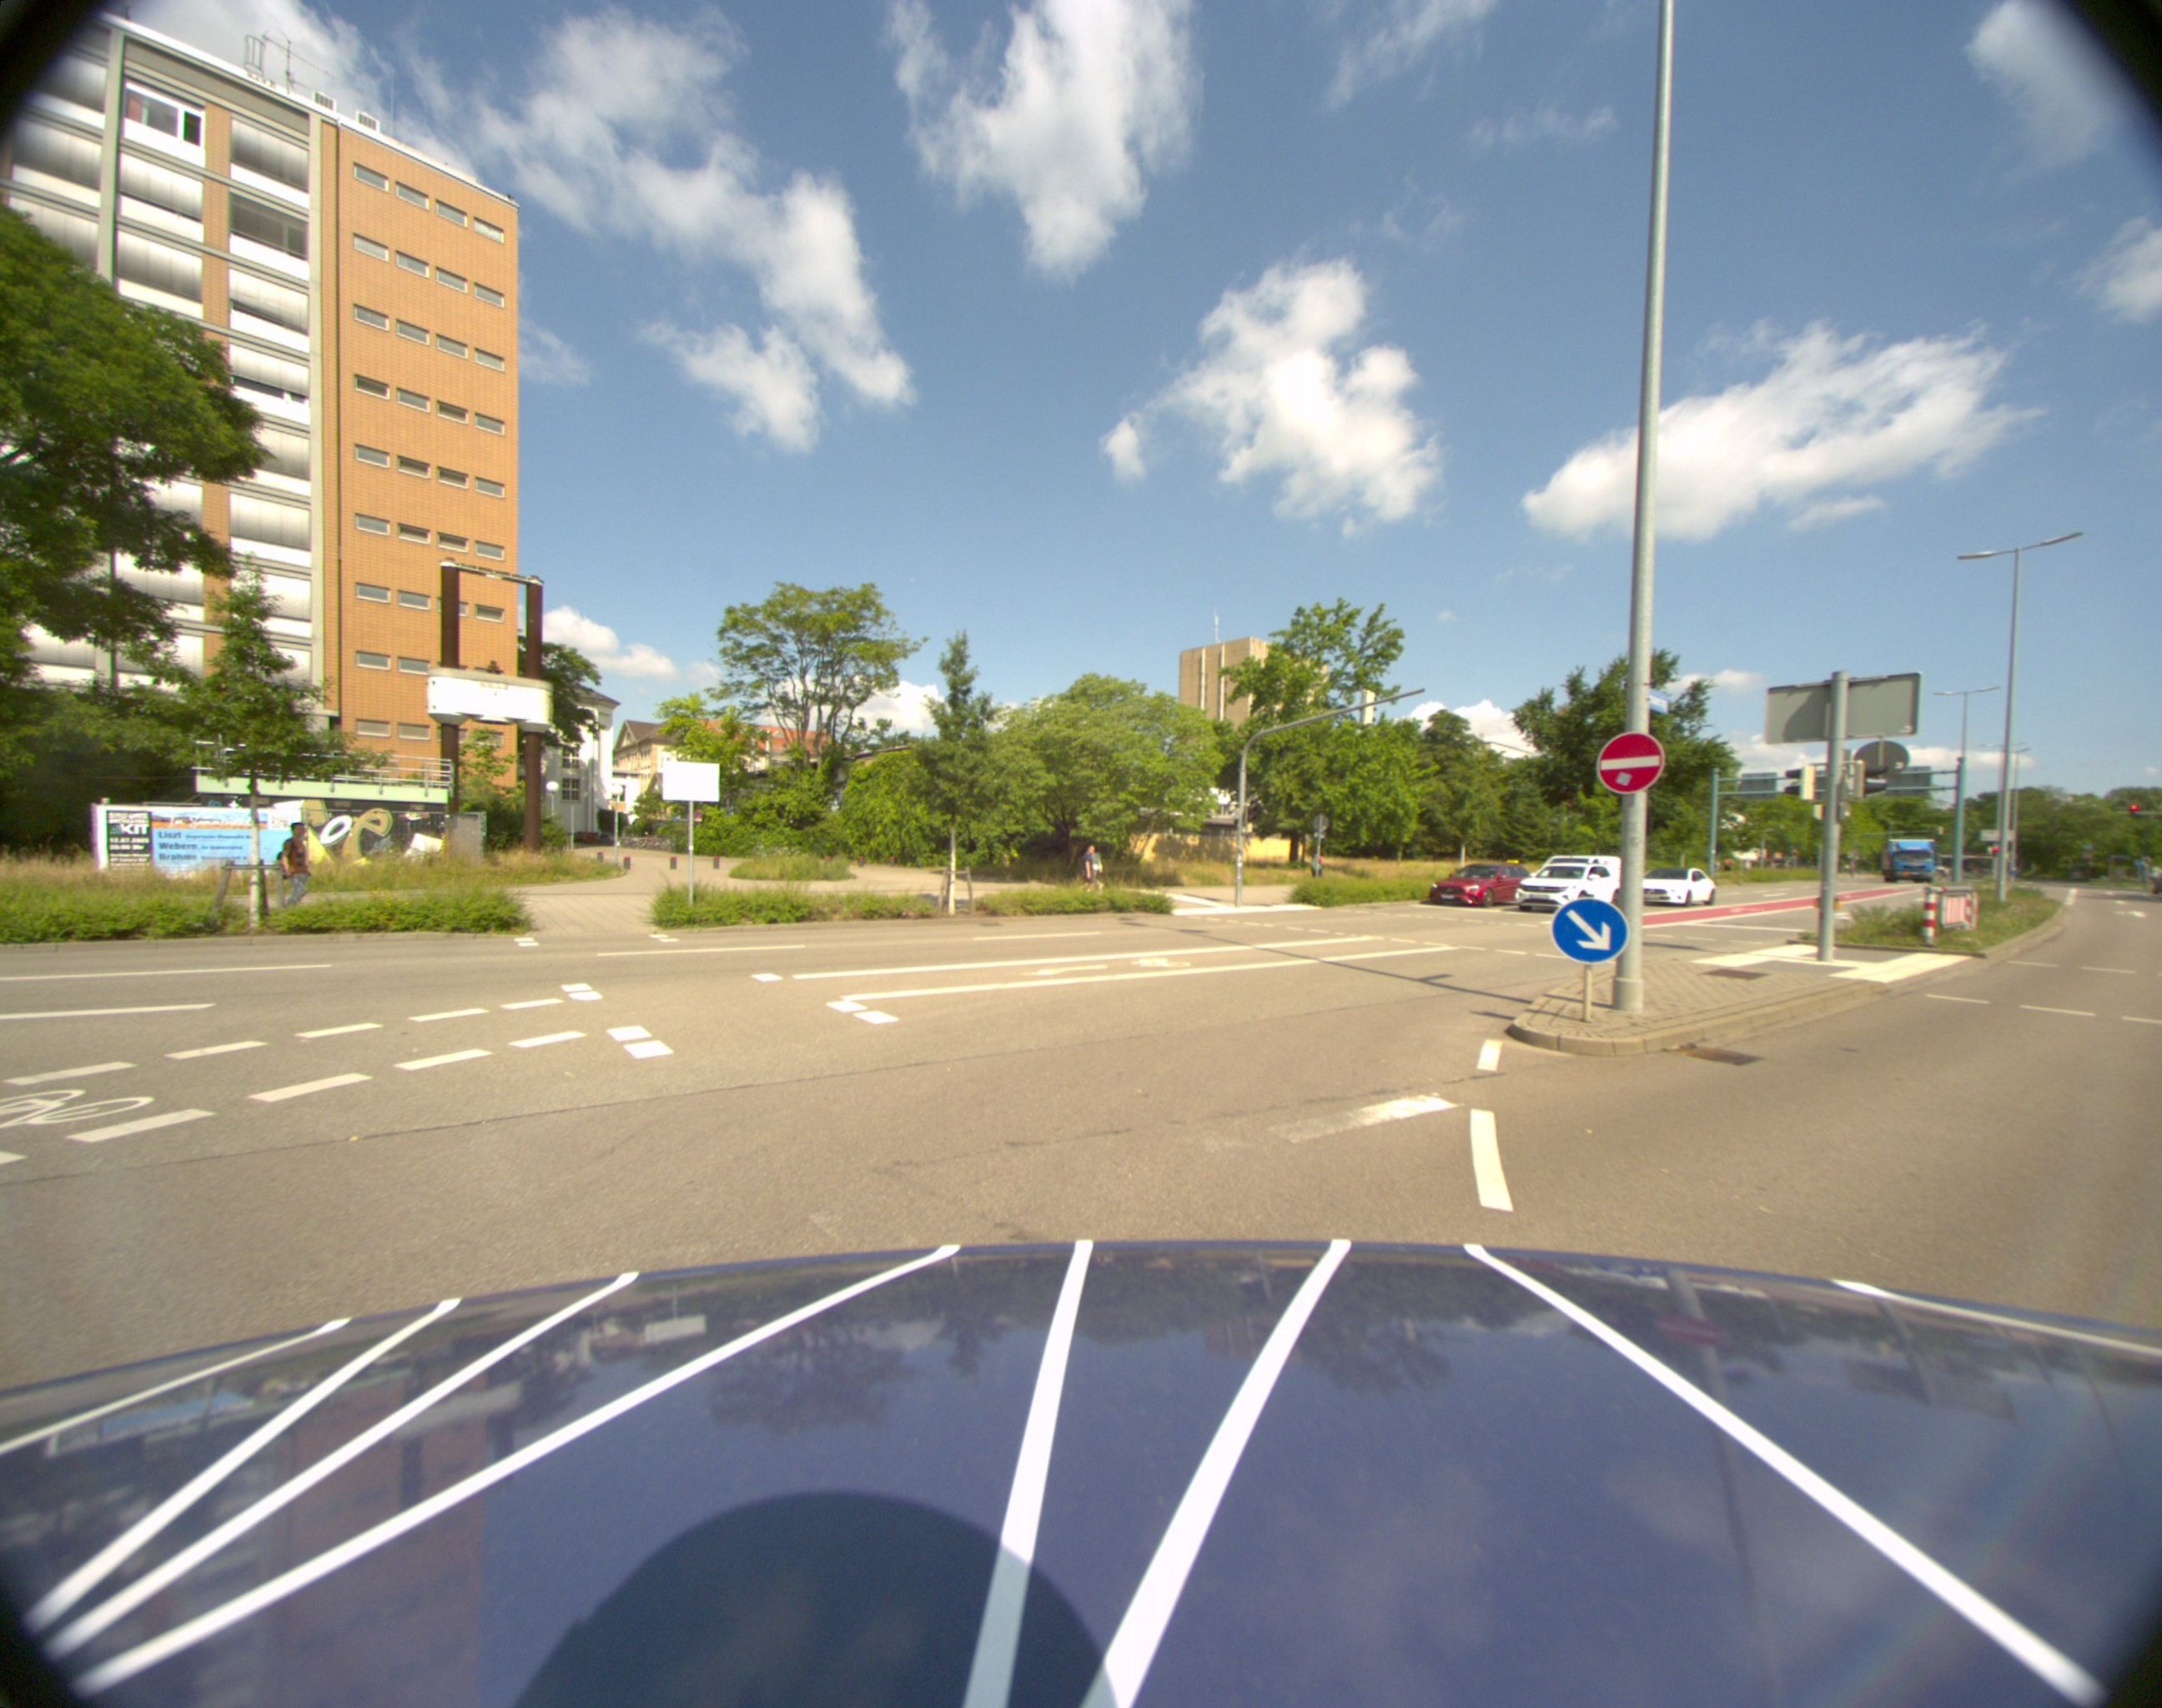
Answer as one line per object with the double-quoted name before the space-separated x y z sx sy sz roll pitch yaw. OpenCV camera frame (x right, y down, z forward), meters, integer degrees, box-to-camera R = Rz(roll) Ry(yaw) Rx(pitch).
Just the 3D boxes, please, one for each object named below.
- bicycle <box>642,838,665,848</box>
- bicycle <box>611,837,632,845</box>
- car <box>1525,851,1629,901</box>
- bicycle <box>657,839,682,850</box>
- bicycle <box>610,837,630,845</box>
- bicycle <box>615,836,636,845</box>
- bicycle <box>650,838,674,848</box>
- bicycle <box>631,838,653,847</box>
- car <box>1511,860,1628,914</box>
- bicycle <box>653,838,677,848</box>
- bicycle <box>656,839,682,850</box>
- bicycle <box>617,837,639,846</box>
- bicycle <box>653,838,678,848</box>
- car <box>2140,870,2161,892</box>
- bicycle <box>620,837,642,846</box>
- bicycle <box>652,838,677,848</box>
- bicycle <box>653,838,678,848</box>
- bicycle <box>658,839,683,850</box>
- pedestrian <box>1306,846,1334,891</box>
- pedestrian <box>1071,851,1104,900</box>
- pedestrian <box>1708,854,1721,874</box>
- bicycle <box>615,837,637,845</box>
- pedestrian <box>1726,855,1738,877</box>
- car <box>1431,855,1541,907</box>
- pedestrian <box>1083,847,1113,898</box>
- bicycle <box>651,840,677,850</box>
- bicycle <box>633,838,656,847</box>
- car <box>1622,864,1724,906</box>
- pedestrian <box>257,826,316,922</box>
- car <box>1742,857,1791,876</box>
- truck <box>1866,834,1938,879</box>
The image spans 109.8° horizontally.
"bicycle" -33.374 -0.849 59.336 1.562 0.716 0.507 0 2 -35
"bicycle" -40.622 -1.156 67.136 1.562 0.716 0.507 0 2 -35
"car" 20.297 0.853 31.010 4.835 1.859 1.943 1 1 -37
"bicycle" -29.814 -0.682 55.008 1.562 0.716 0.507 0 2 -35
"bicycle" -41.597 -1.177 68.553 1.562 0.716 0.507 0 2 -35
"bicycle" -39.829 -1.166 66.398 1.562 0.716 0.507 0 2 -35
"bicycle" -31.907 -0.817 57.904 1.562 0.716 0.507 0 2 -35
"bicycle" -35.418 -0.897 61.307 1.562 0.716 0.507 0 2 -35
"car" 15.391 0.980 23.870 4.019 1.530 1.792 1 0 -37
"bicycle" -31.028 -0.808 56.653 1.562 0.716 0.507 0 2 -35
"bicycle" -28.705 -0.647 52.922 1.562 0.716 0.507 0 2 -35
"bicycle" -38.268 -1.059 64.222 1.562 0.716 0.507 0 2 -35
"bicycle" -31.317 -0.811 57.283 1.562 0.716 0.507 0 2 -35
"car" 75.914 1.915 53.271 4.154 1.437 1.700 1 3 -38
"bicycle" -37.768 -1.041 63.738 1.562 0.716 0.507 0 2 -35
"bicycle" -30.730 -0.805 56.090 1.562 0.716 0.507 0 2 -35
"bicycle" -30.343 -0.801 55.490 1.562 0.716 0.507 0 2 -35
"bicycle" -29.108 -0.658 53.874 1.562 0.716 0.507 0 2 -35
"pedestrian" 9.328 0.558 29.675 0.680 1.726 0.743 0 2 -34
"pedestrian" 0.228 0.729 26.348 0.722 1.629 0.868 0 2 -36
"pedestrian" 51.548 0.822 61.817 0.710 1.572 0.623 0 2 -38
"bicycle" -39.507 -1.139 65.951 1.562 0.716 0.507 0 2 -35
"pedestrian" 52.331 0.952 61.098 0.640 1.791 0.567 0 2 -38
"car" 14.272 0.901 26.692 4.472 1.631 1.681 1 1 -37
"pedestrian" 0.515 0.552 23.029 0.553 1.499 0.770 0 1 -32
"bicycle" -29.797 -0.656 54.273 1.562 0.716 0.507 0 2 -35
"bicycle" -34.415 -0.892 59.912 1.562 0.716 0.507 0 2 -35
"car" 22.458 1.123 28.766 4.393 1.416 1.904 1 1 -37
"pedestrian" -14.710 0.361 14.077 0.579 1.723 0.660 0 2 -29
"car" 80.327 1.448 89.064 2.004 2.002 3.987 0 2 -44
"truck" 74.727 0.182 69.337 2.658 3.778 9.210 2 1 36
